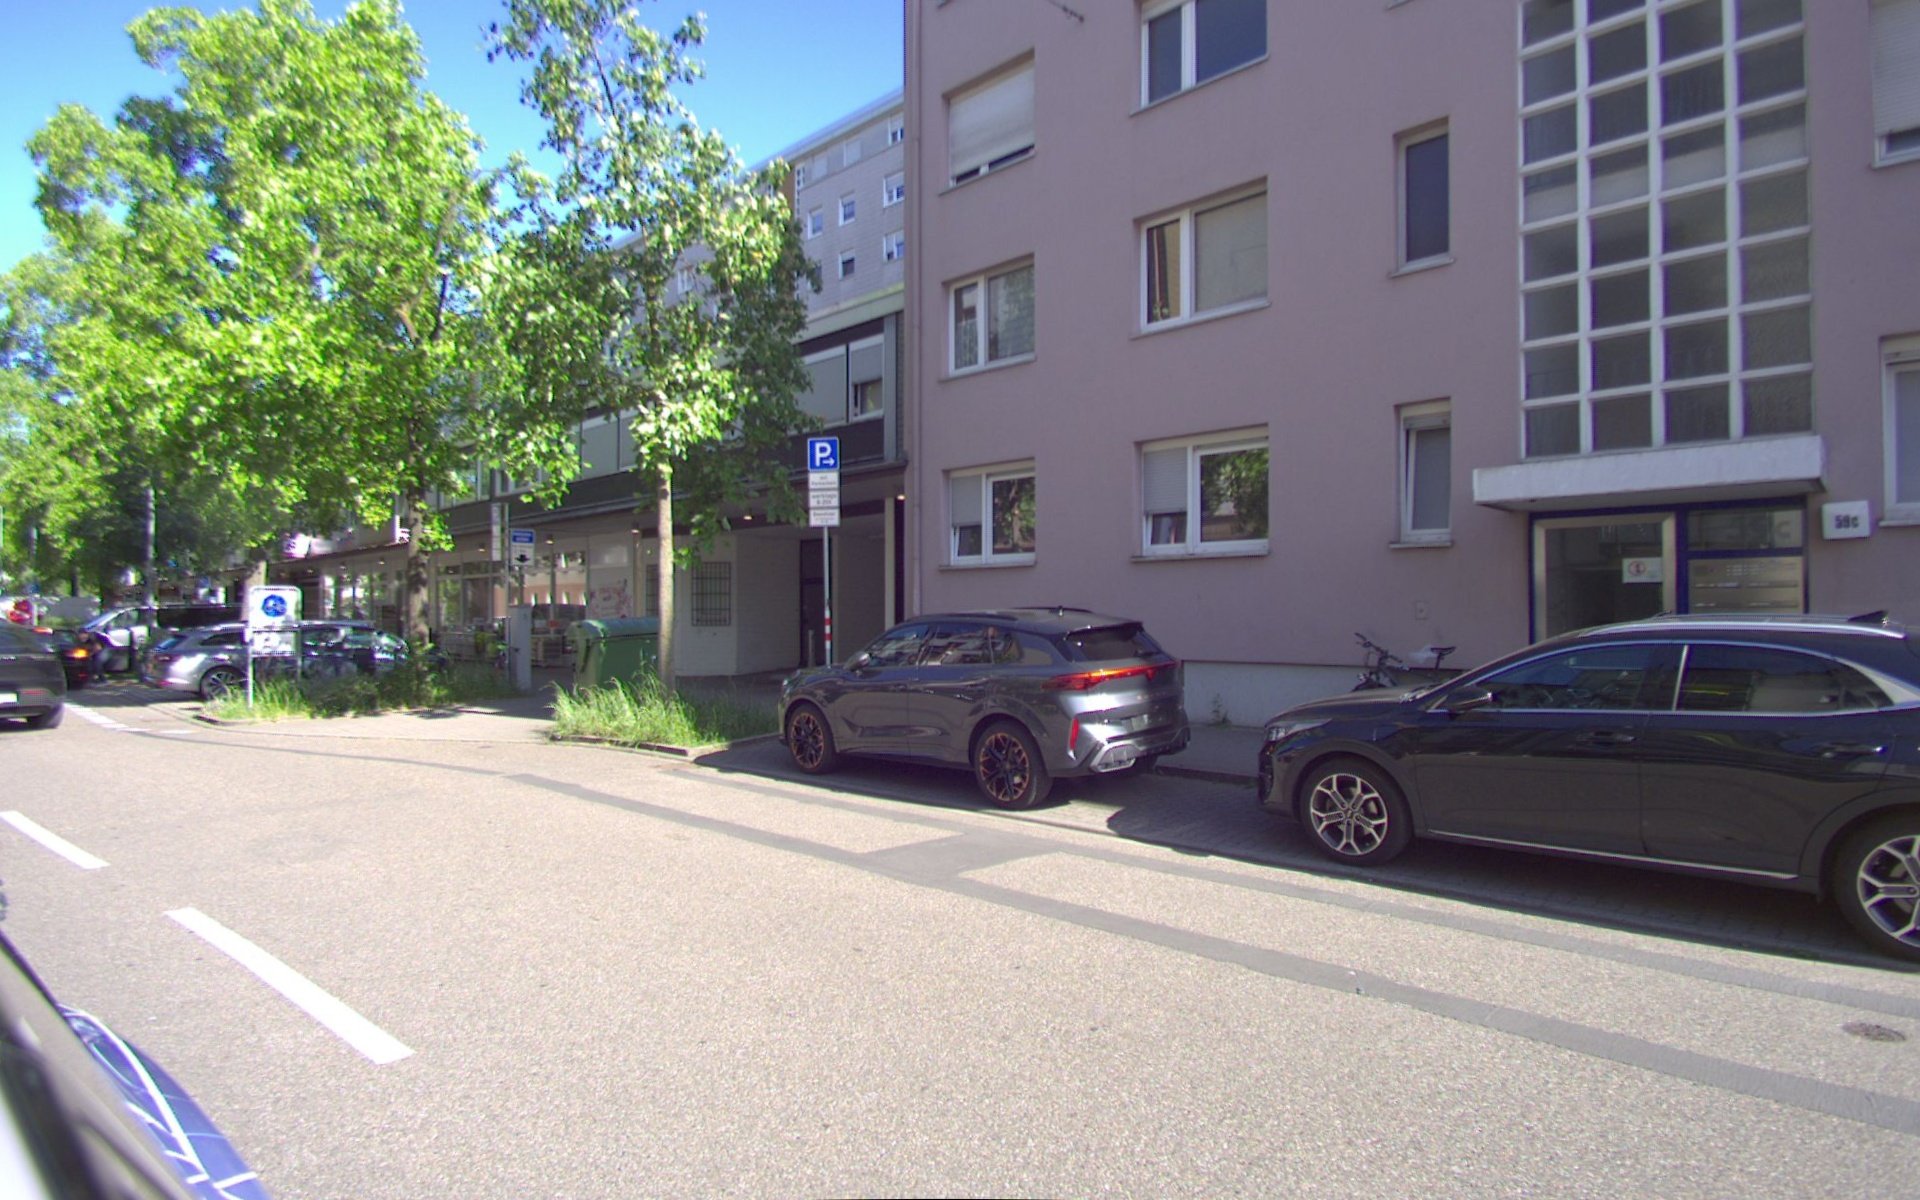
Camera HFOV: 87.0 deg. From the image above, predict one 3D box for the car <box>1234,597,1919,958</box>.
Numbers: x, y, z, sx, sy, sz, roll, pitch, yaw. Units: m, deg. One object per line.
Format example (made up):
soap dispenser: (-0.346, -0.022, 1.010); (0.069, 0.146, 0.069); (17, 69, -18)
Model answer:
car: (3.961, 0.791, 5.826); (4.247, 1.519, 1.797); (-2, 0, 45)

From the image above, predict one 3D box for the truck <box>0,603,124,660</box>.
truck: (-44.201, 1.497, 49.112); (1.994, 2.615, 5.262); (-1, -2, 33)

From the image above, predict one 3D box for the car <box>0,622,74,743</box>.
car: (-14.788, 1.166, 14.588); (4.249, 1.620, 1.973); (-2, -2, 33)

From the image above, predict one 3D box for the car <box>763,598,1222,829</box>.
car: (0.121, 0.869, 9.478); (4.143, 1.604, 1.797); (-2, 2, 45)

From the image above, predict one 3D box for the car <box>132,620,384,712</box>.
car: (-14.386, 1.276, 20.879); (2.000, 1.687, 3.943); (-2, -2, 43)

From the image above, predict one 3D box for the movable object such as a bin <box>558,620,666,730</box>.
movable object such as a bin: (-5.195, 1.081, 15.126); (1.229, 1.557, 1.020); (1, -2, -42)

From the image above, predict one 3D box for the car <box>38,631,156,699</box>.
car: (-20.751, 1.493, 24.278); (1.841, 1.475, 4.002); (1, -2, -45)

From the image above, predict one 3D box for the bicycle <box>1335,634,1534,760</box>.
bicycle: (4.499, 0.883, 9.688); (1.650, 1.084, 0.386); (-2, 2, 44)

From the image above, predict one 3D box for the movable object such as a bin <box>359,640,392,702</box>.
movable object such as a bin: (-11.908, 1.435, 20.635); (0.410, 1.234, 0.482); (-2, -2, 43)

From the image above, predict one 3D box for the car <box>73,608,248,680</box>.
car: (-24.354, 1.290, 30.901); (2.000, 2.047, 3.943); (-2, -2, 43)
